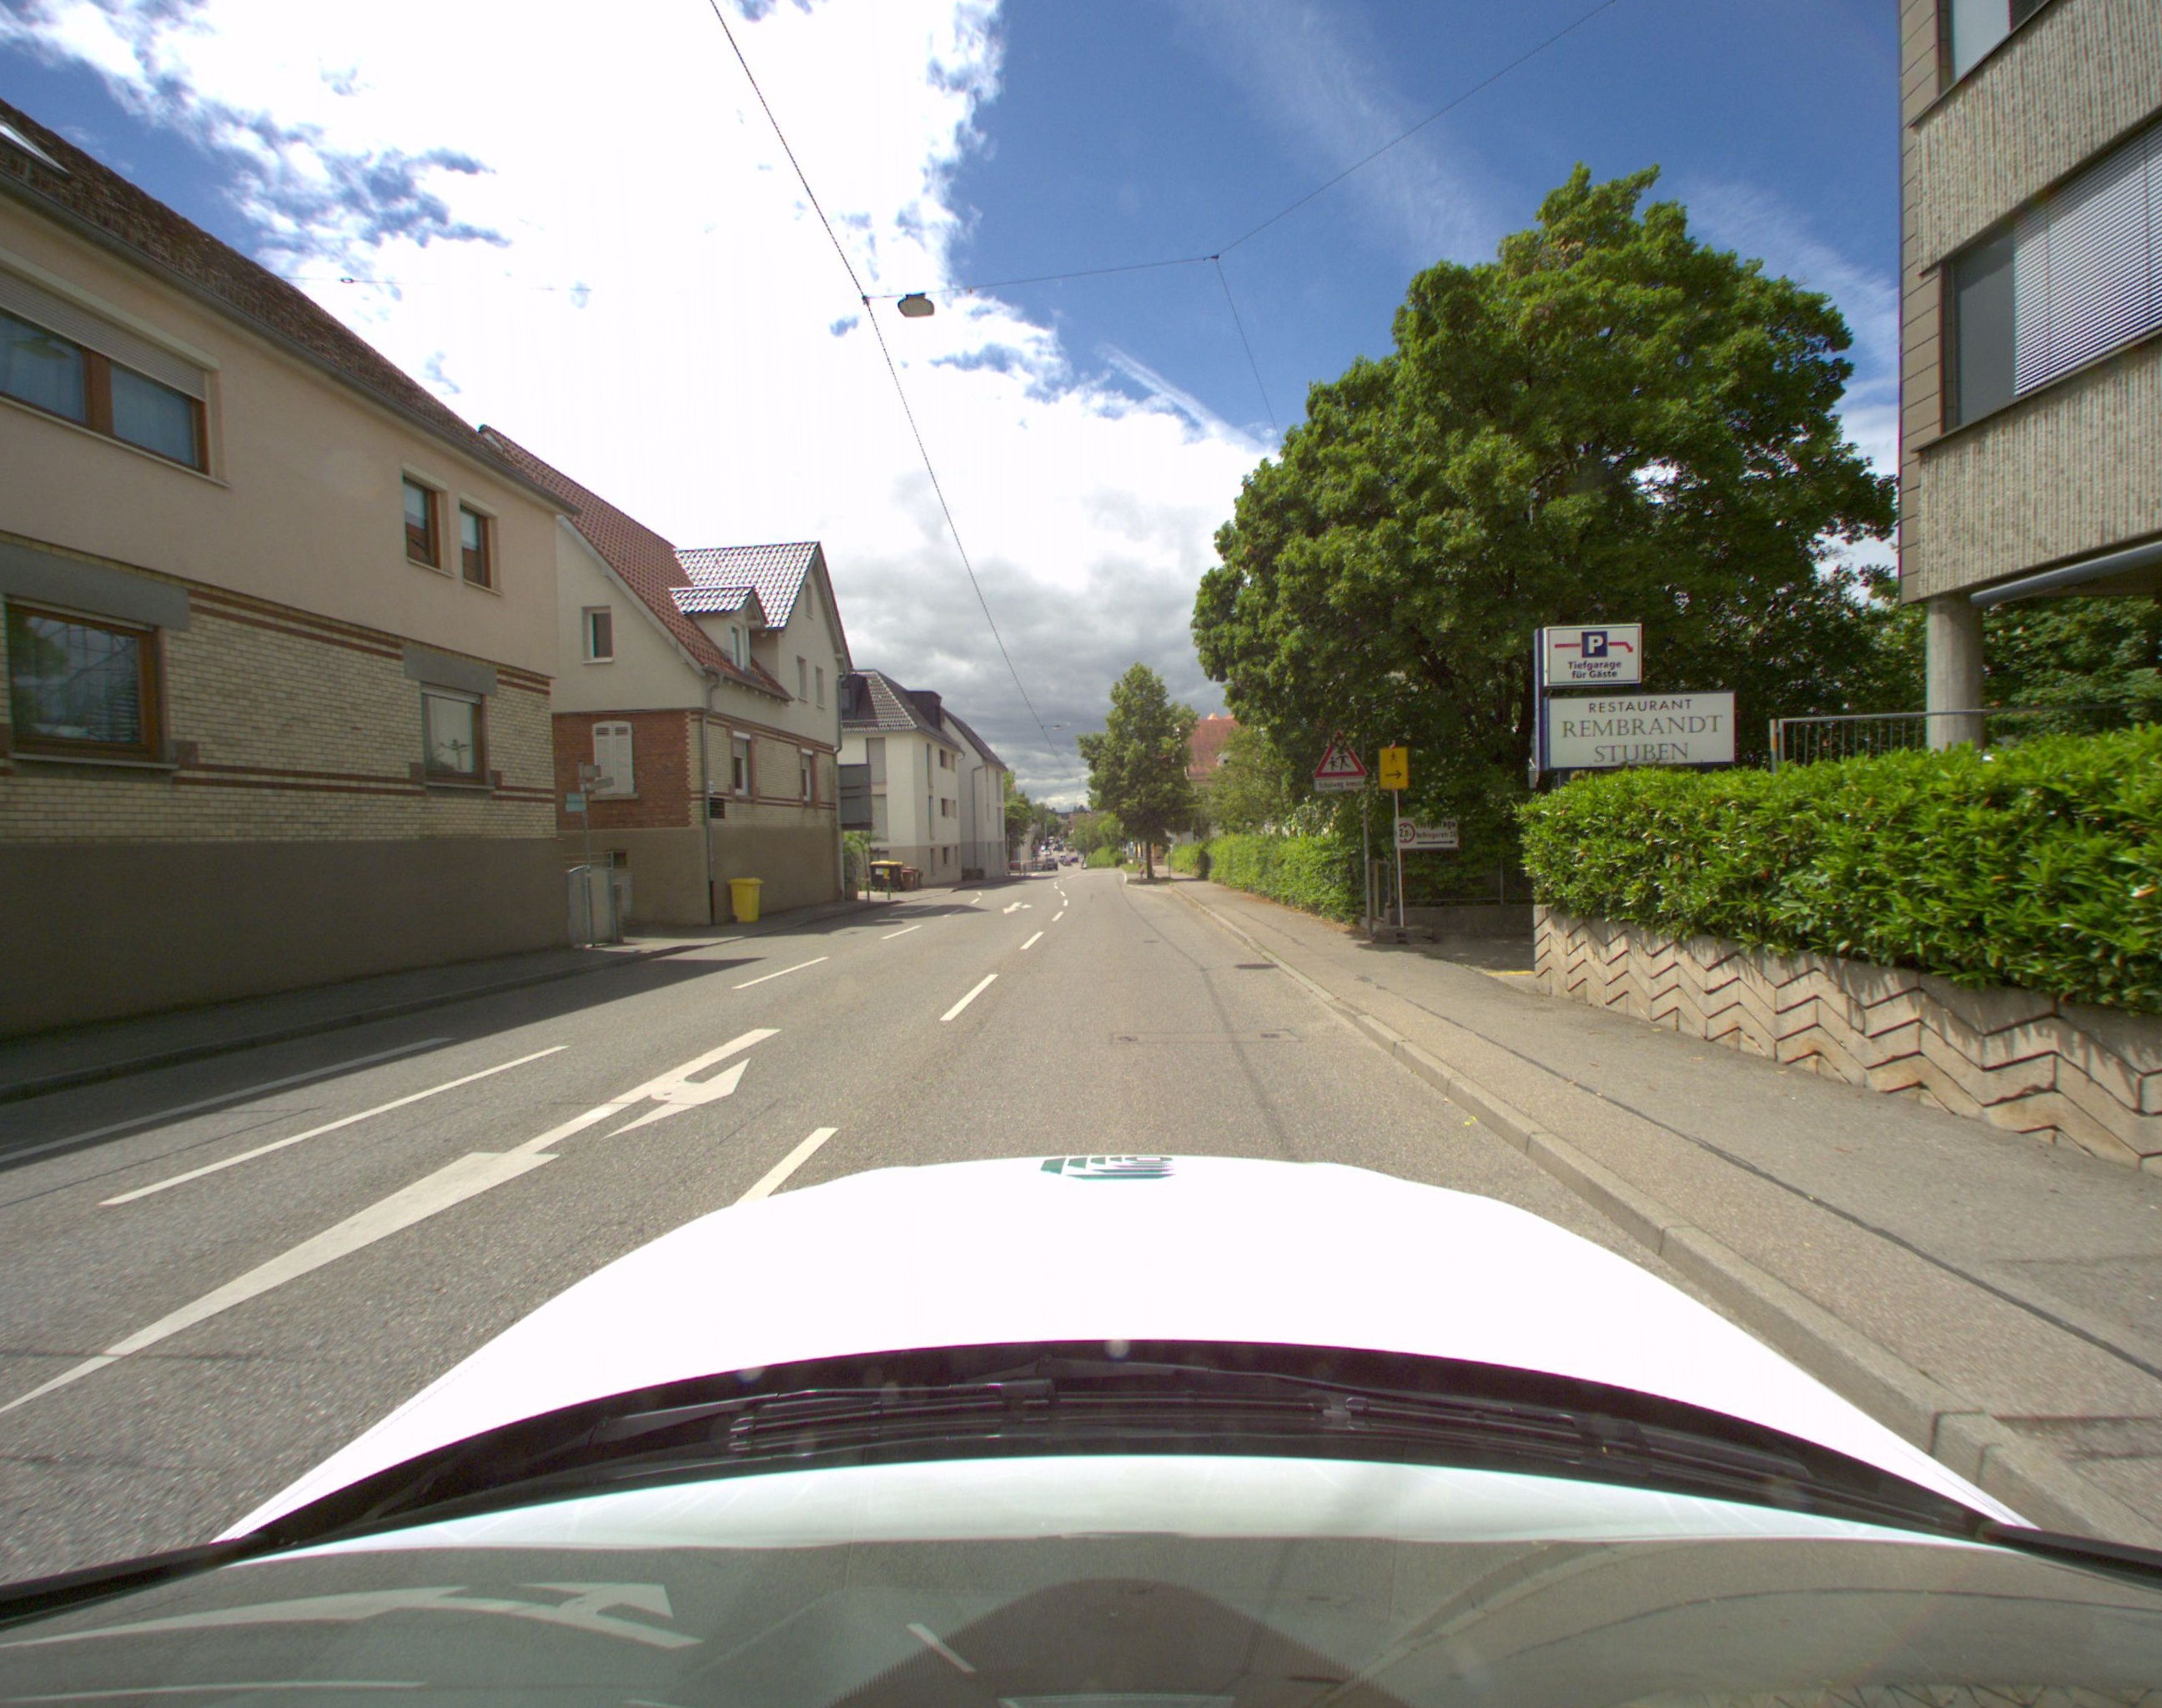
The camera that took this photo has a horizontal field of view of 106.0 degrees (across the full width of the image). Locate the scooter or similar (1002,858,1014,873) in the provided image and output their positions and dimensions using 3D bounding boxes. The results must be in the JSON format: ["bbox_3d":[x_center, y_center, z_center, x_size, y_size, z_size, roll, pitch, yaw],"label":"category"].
[{"bbox_3d":[-6.096,0.962,68.152,0.492,1.261,1.296,-2,-1,-27],"label":"scooter or similar"}]

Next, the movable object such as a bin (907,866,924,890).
[{"bbox_3d":[-7.717,1.127,38.011,0.638,1.075,0.660,-2,0,-1],"label":"movable object such as a bin"}]

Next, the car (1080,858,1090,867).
[{"bbox_3d":[0.788,1.724,165.300,1.840,1.768,4.510,-1,-1,-3],"label":"car"}]

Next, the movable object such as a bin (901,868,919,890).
[{"bbox_3d":[-7.835,1.135,37.293,0.638,1.000,0.657,-2,0,1],"label":"movable object such as a bin"}]

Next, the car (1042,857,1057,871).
[{"bbox_3d":[-3.920,1.277,102.533,1.790,1.610,4.644,-2,0,-1],"label":"car"}]

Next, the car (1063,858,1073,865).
[{"bbox_3d":[-3.040,1.733,190.059,1.744,1.417,3.987,-2,0,-9],"label":"car"}]

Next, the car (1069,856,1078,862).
[{"bbox_3d":[-1.871,1.252,205.763,1.752,1.370,3.989,-2,2,-8],"label":"car"}]

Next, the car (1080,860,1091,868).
[{"bbox_3d":[0.845,1.923,159.179,1.782,1.509,4.360,-1,-1,-3],"label":"car"}]

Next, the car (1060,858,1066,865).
[{"bbox_3d":[-4.369,1.823,198.912,1.273,1.527,3.043,-2,3,-7],"label":"car"}]

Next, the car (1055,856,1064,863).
[{"bbox_3d":[-5.565,1.456,209.069,1.835,1.862,3.841,-1,0,-7],"label":"car"}]

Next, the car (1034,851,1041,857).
[{"bbox_3d":[-13.151,0.045,245.277,1.867,1.640,3.999,0,-1,0],"label":"car"}]

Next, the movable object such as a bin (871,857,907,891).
[{"bbox_3d":[-8.607,0.895,36.571,1.331,1.446,1.170,-2,0,-2],"label":"movable object such as a bin"}]

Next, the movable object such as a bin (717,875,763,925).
[{"bbox_3d":[-8.396,1.118,20.077,0.762,1.161,0.802,-2,0,0],"label":"movable object such as a bin"}]
